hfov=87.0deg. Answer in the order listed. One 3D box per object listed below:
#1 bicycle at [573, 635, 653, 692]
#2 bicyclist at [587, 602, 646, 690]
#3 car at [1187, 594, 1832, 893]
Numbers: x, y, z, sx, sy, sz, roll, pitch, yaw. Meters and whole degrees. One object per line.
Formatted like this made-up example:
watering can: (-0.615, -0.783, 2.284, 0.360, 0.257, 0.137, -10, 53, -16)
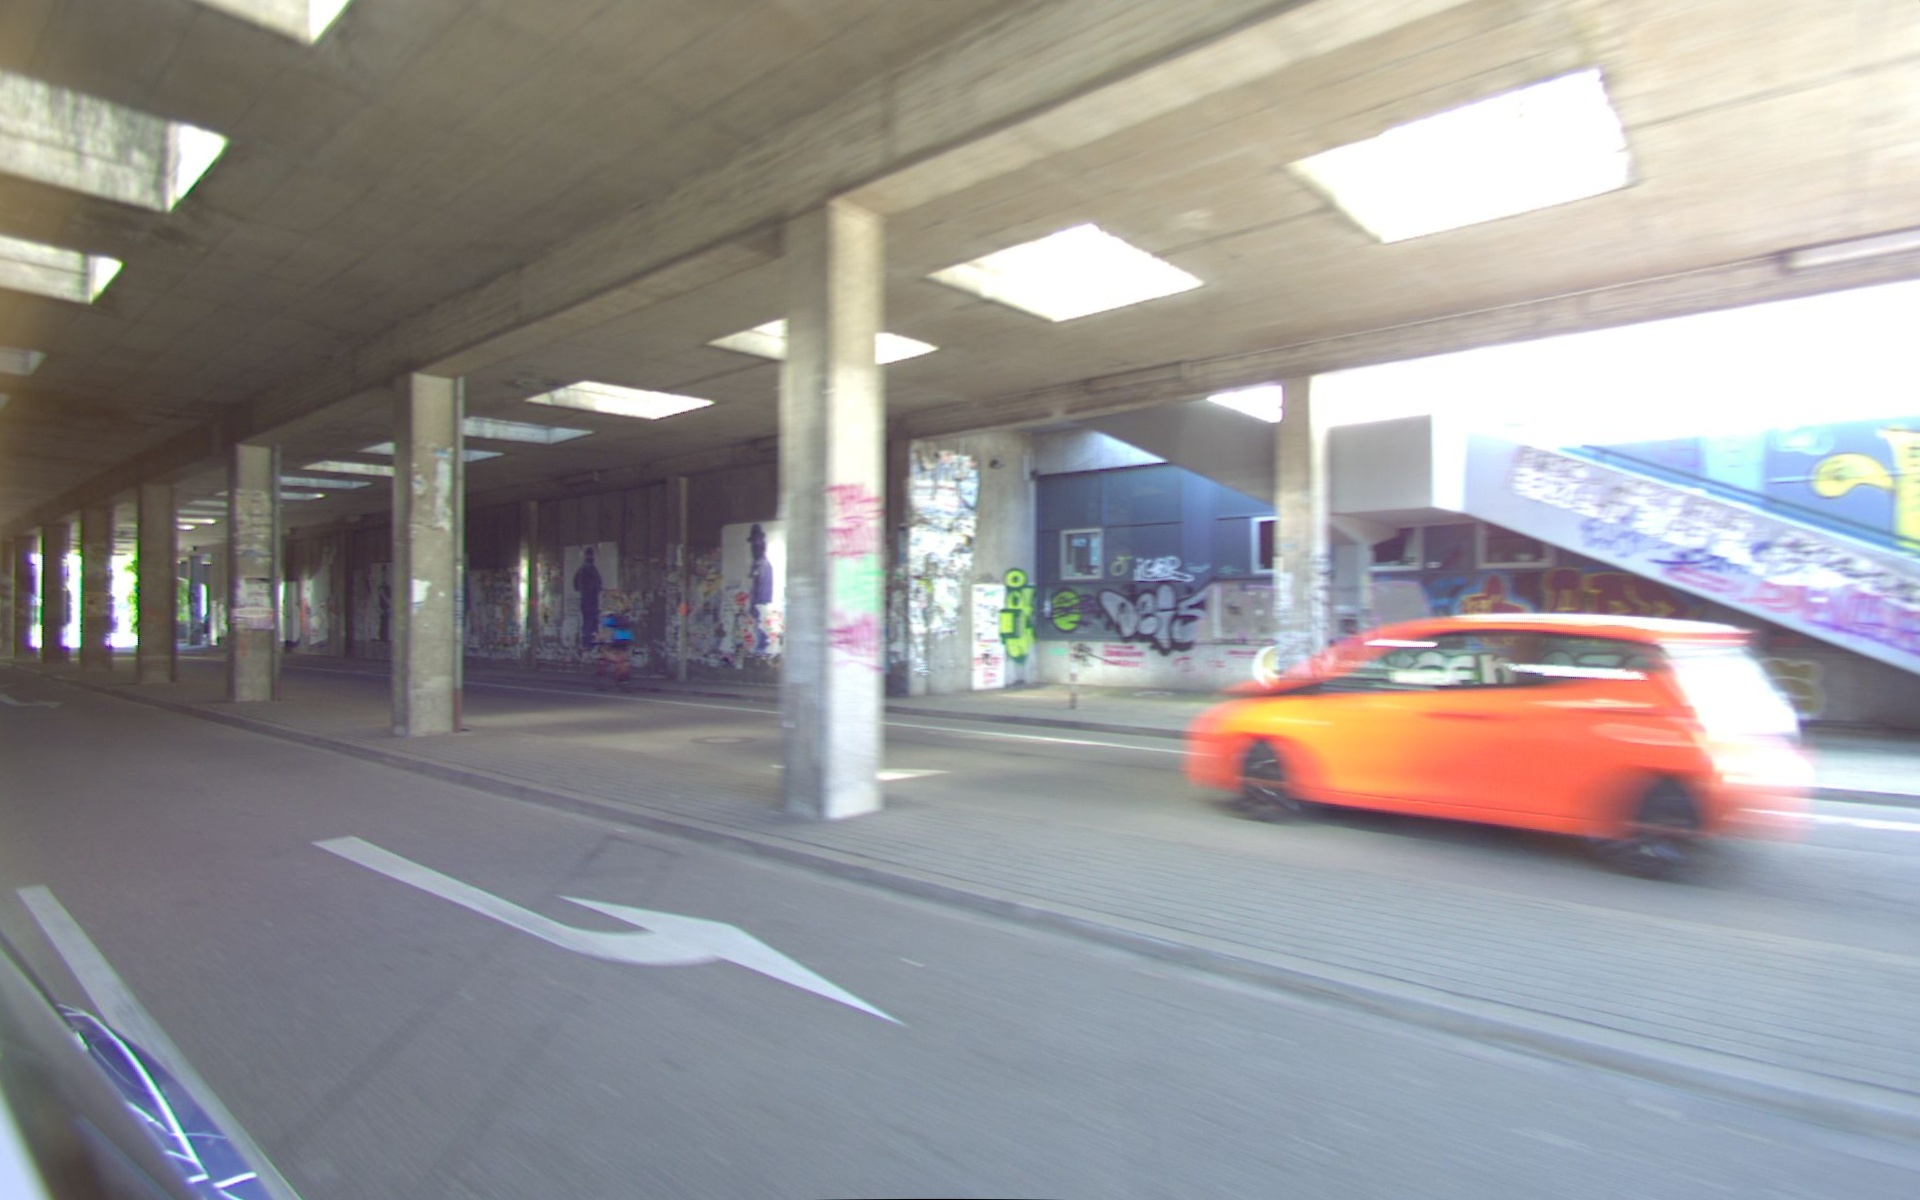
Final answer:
bicycle: (-7.060, 1.295, 20.550, 1.859, 1.098, 0.691, -4, -4, 41)
bicyclist: (-6.967, 0.925, 20.502, 0.966, 1.725, 0.738, -4, -3, 40)
car: (3.460, 0.737, 6.716, 3.463, 1.452, 1.639, -1, -2, 43)
